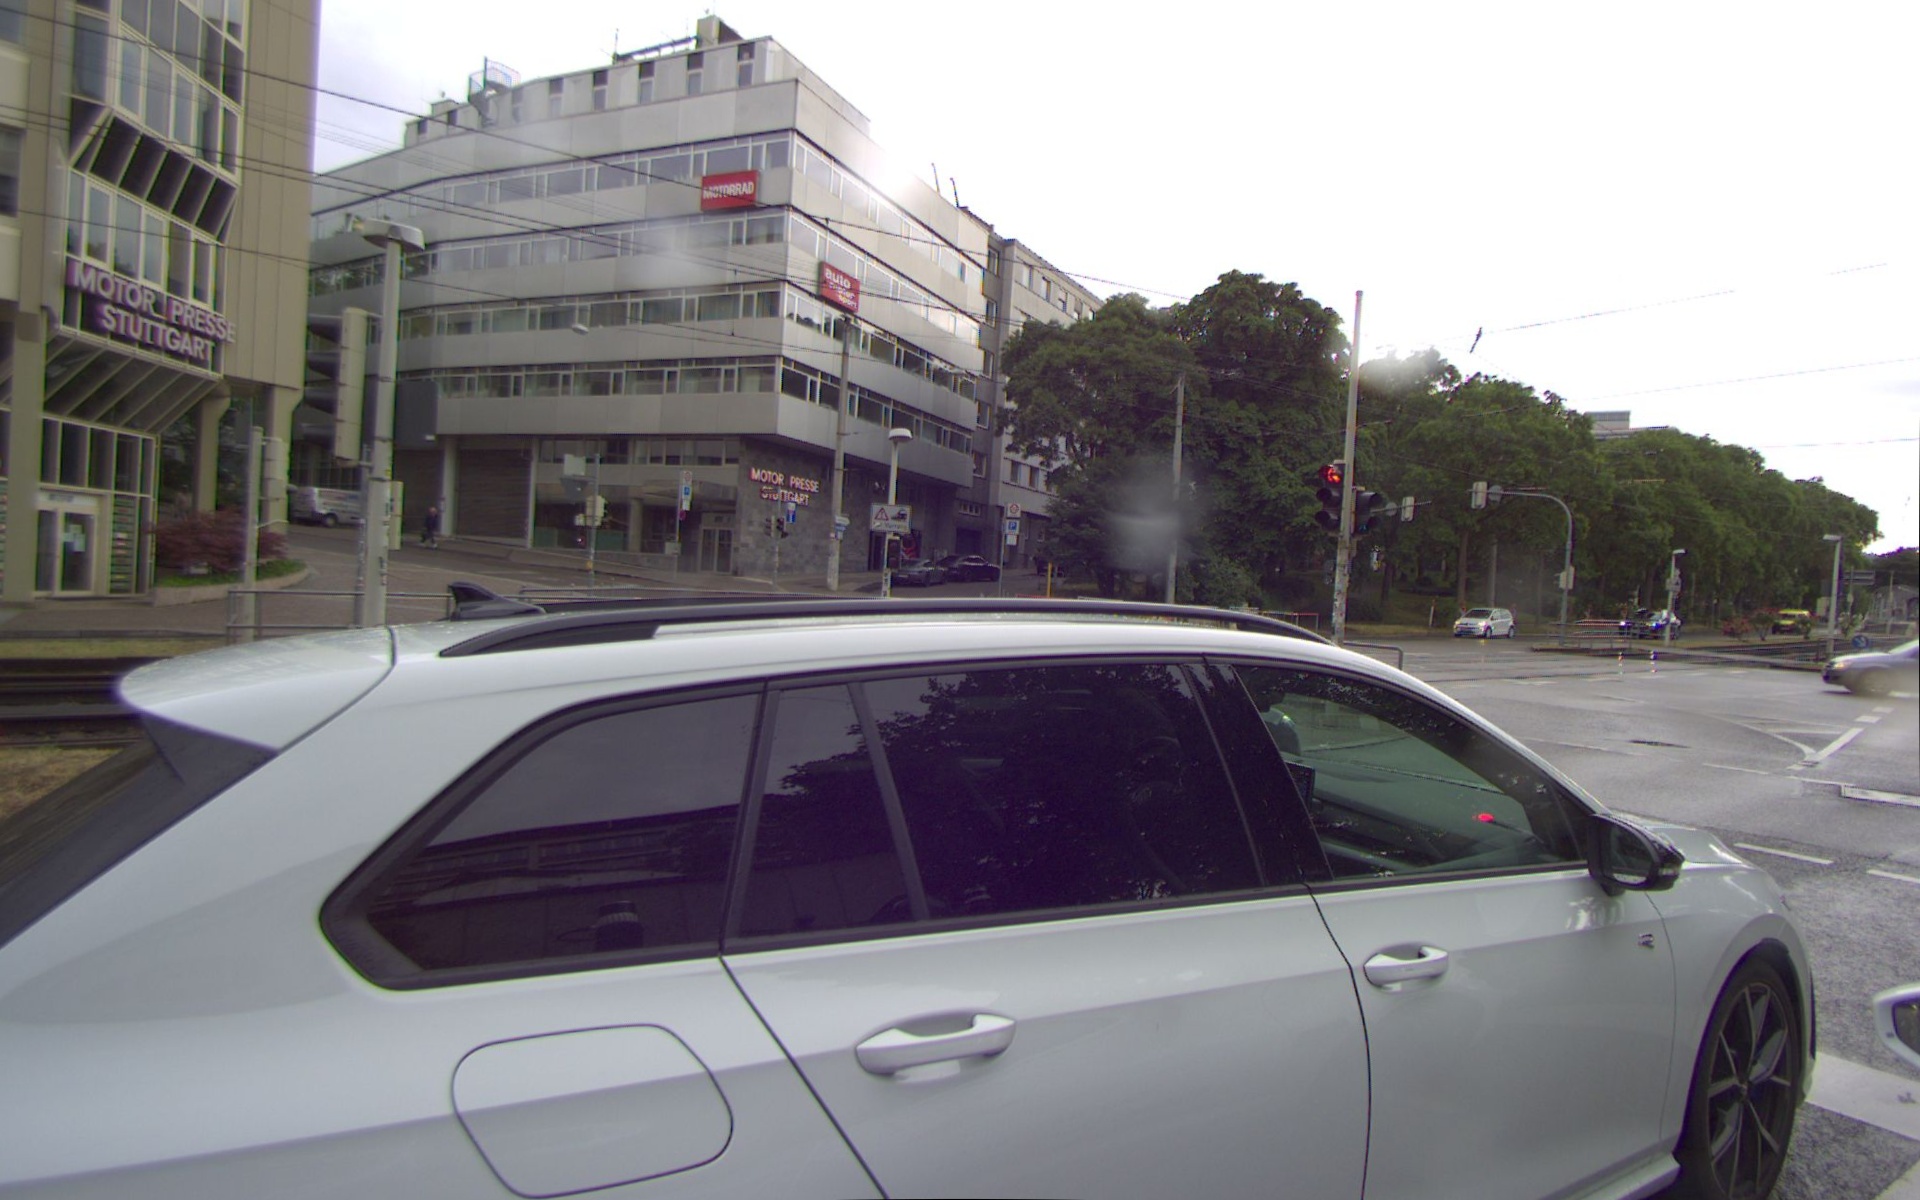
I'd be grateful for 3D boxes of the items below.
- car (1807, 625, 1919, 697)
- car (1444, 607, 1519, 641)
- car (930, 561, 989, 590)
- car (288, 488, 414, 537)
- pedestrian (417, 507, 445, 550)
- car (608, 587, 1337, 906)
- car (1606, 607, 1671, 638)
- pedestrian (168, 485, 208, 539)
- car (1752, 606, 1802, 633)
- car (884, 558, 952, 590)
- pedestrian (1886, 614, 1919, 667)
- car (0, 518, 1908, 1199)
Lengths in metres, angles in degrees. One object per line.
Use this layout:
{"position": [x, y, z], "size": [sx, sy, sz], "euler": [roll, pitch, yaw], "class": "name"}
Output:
{"position": [20.805, 1.370, 21.506], "size": [3.803, 1.375, 1.629], "euler": [4, 2, 32], "class": "car"}
{"position": [26.069, 1.213, 50.197], "size": [3.648, 1.566, 1.905], "euler": [2, 1, -37], "class": "car"}
{"position": [0.037, -1.352, 55.595], "size": [1.842, 1.450, 3.998], "euler": [3, 2, 22], "class": "car"}
{"position": [-32.025, -4.539, 53.004], "size": [1.964, 2.040, 5.403], "euler": [2, 0, 30], "class": "car"}
{"position": [-24.351, -3.294, 46.228], "size": [0.833, 1.886, 0.719], "euler": [5, 2, 25], "class": "pedestrian"}
{"position": [0.204, 0.723, 6.496], "size": [4.423, 1.461, 1.787], "euler": [2, 0, -30], "class": "car"}
{"position": [37.734, 1.254, 55.828], "size": [3.648, 1.566, 1.905], "euler": [2, 1, -37], "class": "car"}
{"position": [-26.902, -3.055, 35.008], "size": [0.746, 1.811, 0.830], "euler": [5, 2, 25], "class": "pedestrian"}
{"position": [62.747, 1.496, 77.103], "size": [4.525, 1.875, 1.905], "euler": [2, 1, -38], "class": "car"}
{"position": [-2.053, -1.292, 50.621], "size": [1.842, 1.450, 4.091], "euler": [3, 2, 22], "class": "car"}
{"position": [33.824, 1.431, 35.849], "size": [0.863, 1.826, 0.860], "euler": [1, 2, -33], "class": "pedestrian"}
{"position": [0.307, 0.706, 2.483], "size": [4.423, 1.461, 1.787], "euler": [2, 0, -30], "class": "car"}
